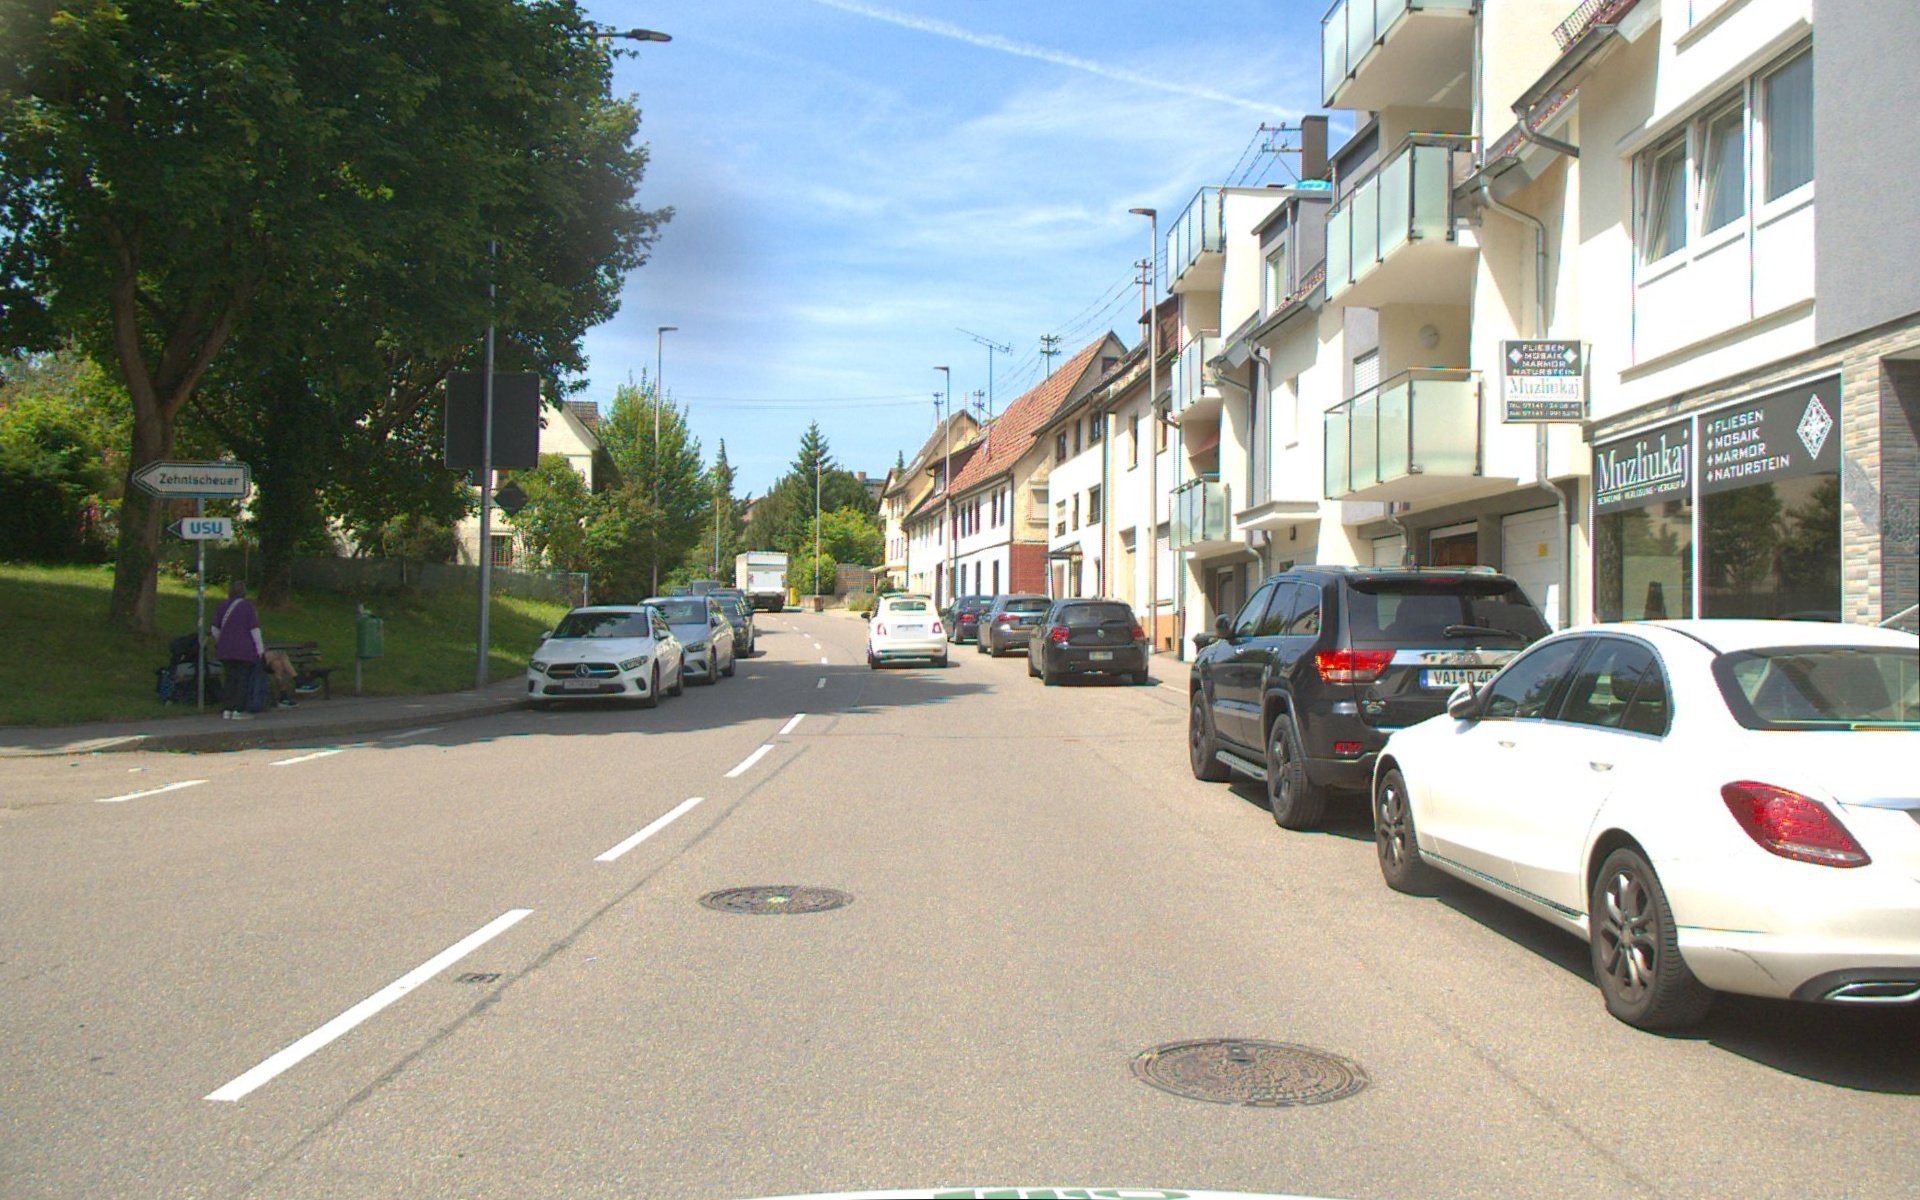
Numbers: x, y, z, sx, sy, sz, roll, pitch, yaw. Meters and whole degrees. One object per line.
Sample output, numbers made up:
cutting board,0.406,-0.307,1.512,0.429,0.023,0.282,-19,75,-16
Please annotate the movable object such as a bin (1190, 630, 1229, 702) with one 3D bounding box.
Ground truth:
movable object such as a bin,3.509,0.922,23.297,0.422,0.973,0.517,-2,0,-3

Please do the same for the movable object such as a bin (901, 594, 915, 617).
movable object such as a bin,-2.517,0.273,80.103,0.537,1.051,0.550,-3,1,-10

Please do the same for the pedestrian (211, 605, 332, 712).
pedestrian,-8.662,0.725,20.832,1.210,1.291,0.646,2,-1,2

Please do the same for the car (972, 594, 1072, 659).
car,1.430,0.589,39.740,1.759,1.427,4.406,-1,0,-6

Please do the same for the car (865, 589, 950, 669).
car,-1.118,0.581,35.299,1.690,1.587,3.999,-1,0,-2

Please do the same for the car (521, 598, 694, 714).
car,-5.121,0.755,24.558,1.719,1.492,4.361,-2,0,-2

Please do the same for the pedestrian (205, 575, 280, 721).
pedestrian,-8.266,0.550,19.085,0.720,1.645,0.625,2,-1,-21

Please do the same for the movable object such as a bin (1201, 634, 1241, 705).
movable object such as a bin,3.568,0.949,22.636,0.422,0.941,0.491,-1,0,-3

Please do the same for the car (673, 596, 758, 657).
car,-6.177,0.633,42.228,1.769,1.448,4.923,-1,0,-4

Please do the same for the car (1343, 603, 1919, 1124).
car,3.210,0.769,7.219,1.753,1.481,4.713,0,0,-3

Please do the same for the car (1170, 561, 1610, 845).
car,2.997,0.626,12.687,1.915,1.746,4.713,0,0,-3

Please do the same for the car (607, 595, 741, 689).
car,-5.191,0.713,30.533,1.736,1.554,4.221,-2,0,-1

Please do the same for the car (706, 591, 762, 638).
car,-7.657,0.451,55.697,1.755,1.489,4.702,-1,0,-9

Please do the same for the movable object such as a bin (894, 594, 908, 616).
movable object such as a bin,-2.919,0.256,81.758,0.537,1.051,0.550,-3,1,-10

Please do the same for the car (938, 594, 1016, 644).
car,0.450,0.518,48.333,1.635,1.376,4.178,0,0,-9

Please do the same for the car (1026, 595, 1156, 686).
car,2.203,0.663,28.879,1.761,1.449,4.288,-1,0,-2

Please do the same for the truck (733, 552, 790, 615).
truck,-12.690,-1.009,105.084,3.014,3.840,7.846,0,0,-11
